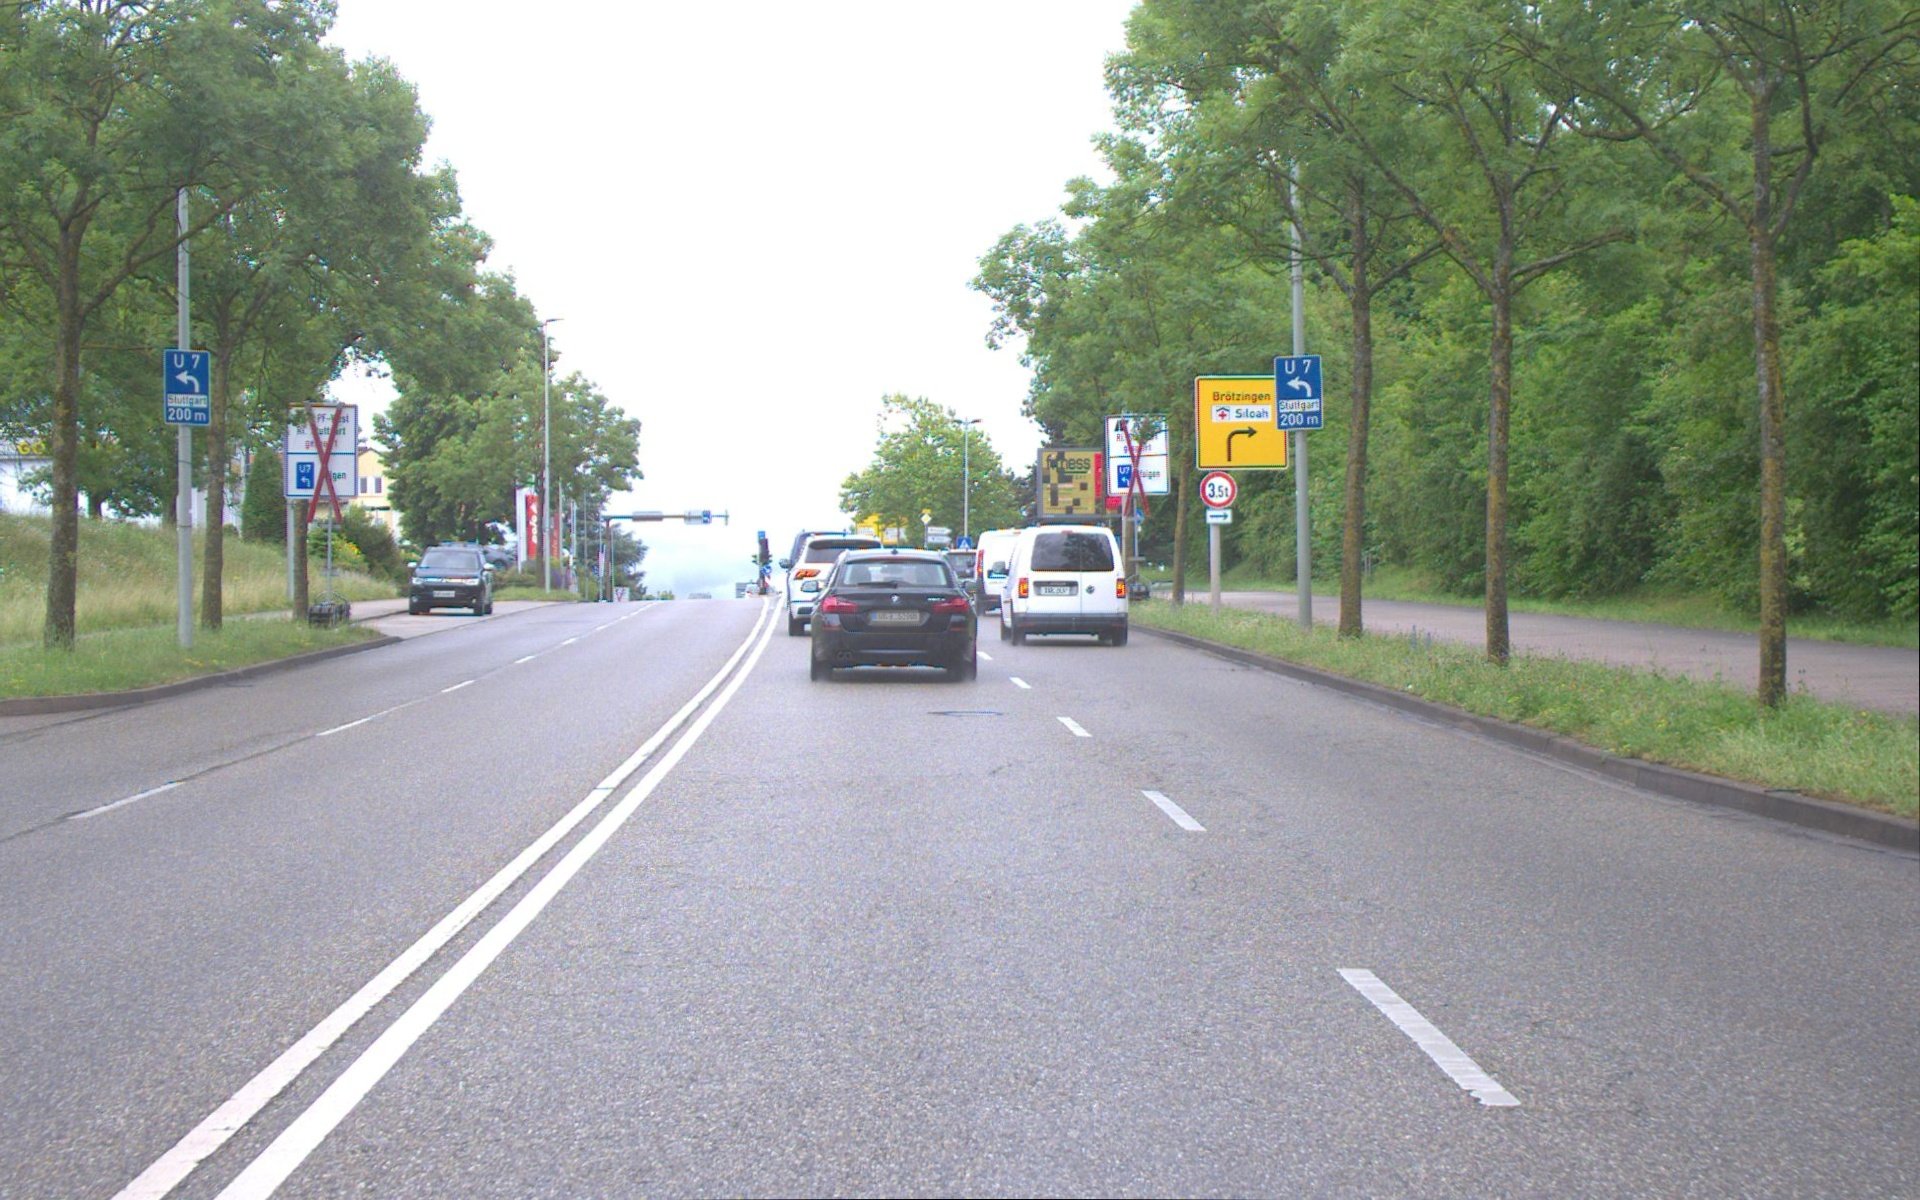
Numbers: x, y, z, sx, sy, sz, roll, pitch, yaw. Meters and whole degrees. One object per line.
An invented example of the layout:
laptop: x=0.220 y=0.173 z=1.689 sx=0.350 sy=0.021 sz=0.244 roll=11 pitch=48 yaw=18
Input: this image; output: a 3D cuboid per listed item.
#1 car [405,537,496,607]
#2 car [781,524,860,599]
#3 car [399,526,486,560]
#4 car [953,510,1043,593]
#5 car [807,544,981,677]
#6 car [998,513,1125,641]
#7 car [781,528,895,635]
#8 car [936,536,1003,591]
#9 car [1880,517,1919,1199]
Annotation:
car: x=-12.508 y=-0.707 z=84.550 sx=1.726 sy=1.662 sz=4.488 roll=1 pitch=1 yaw=-3
car: x=-3.287 y=-0.921 z=81.634 sx=1.758 sy=1.702 sz=3.946 roll=-1 pitch=1 yaw=-1
car: x=-23.334 y=-2.572 z=154.867 sx=3.825 sy=1.477 sz=1.742 roll=-1 pitch=0 yaw=-10
car: x=0.785 y=-1.041 z=73.804 sx=1.814 sy=1.702 sz=3.946 roll=-1 pitch=1 yaw=-1
car: x=-0.722 y=0.083 z=38.949 sx=1.855 sy=1.414 sz=3.957 roll=1 pitch=1 yaw=0
car: x=1.513 y=-0.367 z=52.584 sx=1.741 sy=1.863 sz=3.946 roll=1 pitch=1 yaw=-1
car: x=-2.007 y=-0.323 z=57.323 sx=1.728 sy=1.705 sz=3.382 roll=1 pitch=1 yaw=0
car: x=0.225 y=-0.961 z=89.080 sx=1.600 sy=1.367 sz=3.680 roll=-1 pitch=1 yaw=-1
car: x=2.643 y=0.671 z=4.394 sx=1.714 sy=1.591 sz=4.131 roll=0 pitch=1 yaw=-2
